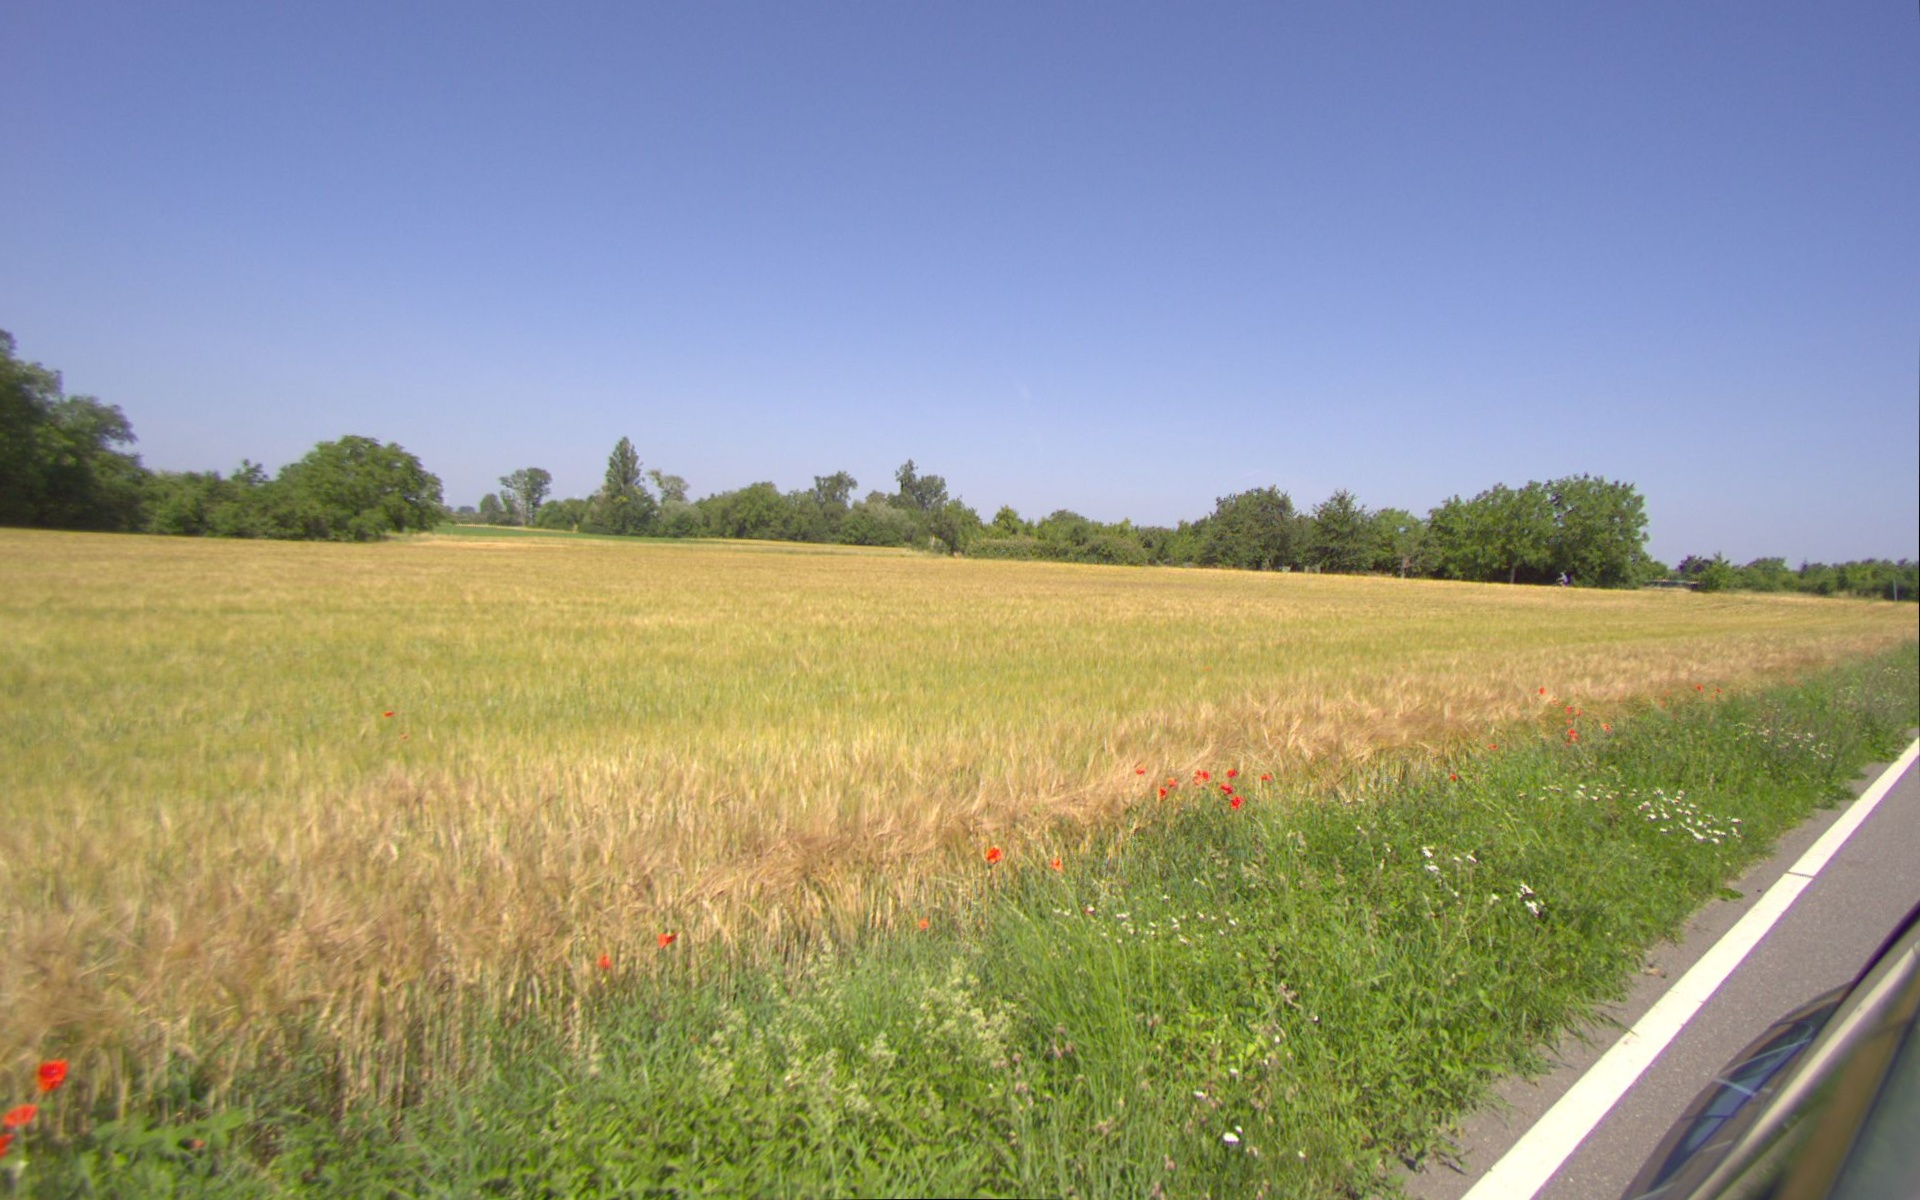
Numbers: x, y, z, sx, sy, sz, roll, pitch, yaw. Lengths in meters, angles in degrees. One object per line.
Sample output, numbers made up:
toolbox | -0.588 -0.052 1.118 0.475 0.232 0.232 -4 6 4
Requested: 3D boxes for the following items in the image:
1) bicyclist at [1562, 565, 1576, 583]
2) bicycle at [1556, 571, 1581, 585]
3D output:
bicyclist | 53.514 -2.293 88.927 0.725 1.592 0.672 3 3 14
bicycle | 53.497 -1.911 88.946 1.744 1.129 0.520 3 3 15
